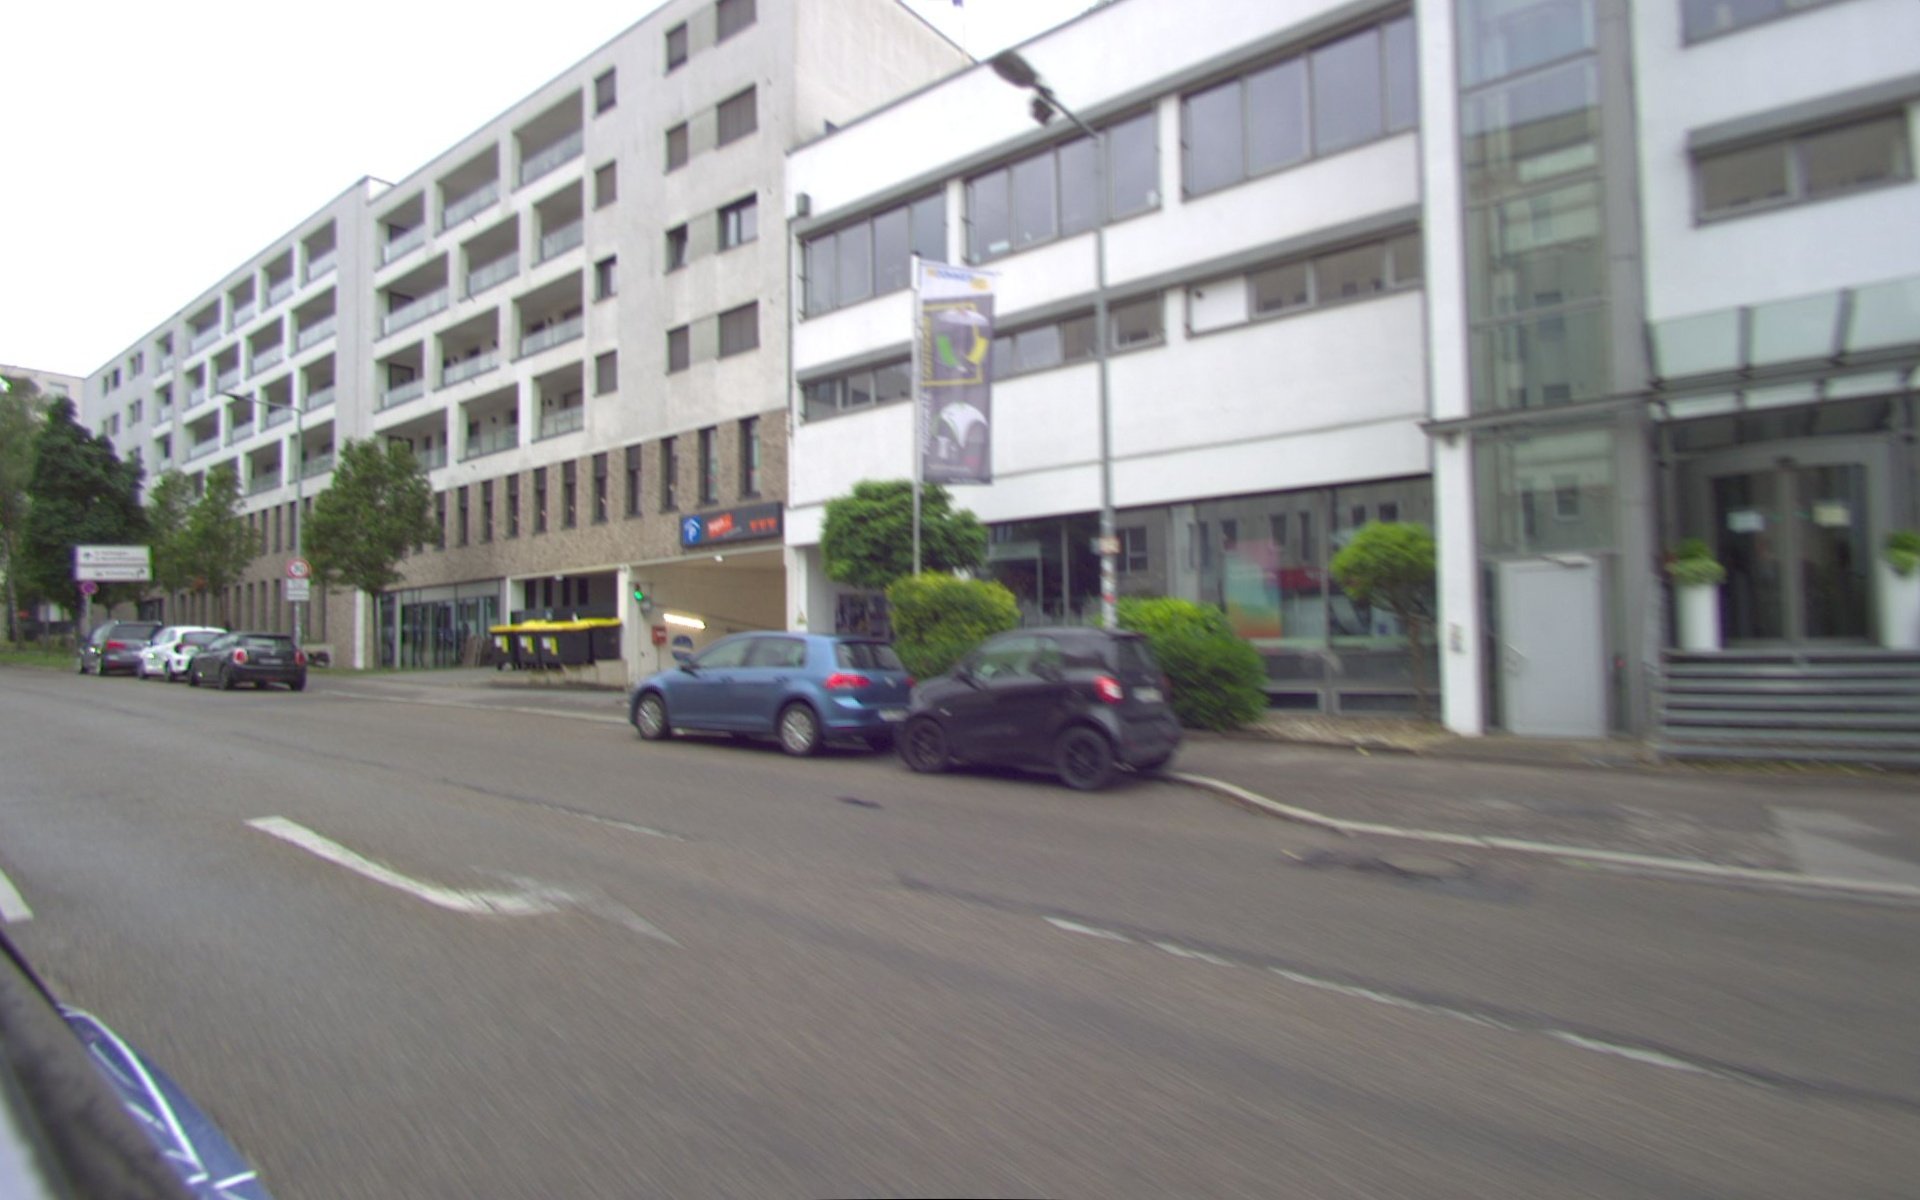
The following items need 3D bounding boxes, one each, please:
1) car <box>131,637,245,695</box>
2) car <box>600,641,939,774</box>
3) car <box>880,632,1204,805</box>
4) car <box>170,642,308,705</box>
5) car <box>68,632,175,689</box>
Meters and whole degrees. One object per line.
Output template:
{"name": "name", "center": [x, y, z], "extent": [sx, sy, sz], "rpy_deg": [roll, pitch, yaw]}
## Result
{"name": "car", "center": [-21.455, 1.824, 28.106], "extent": [3.416, 1.479, 1.578], "rpy_deg": [-1, -5, 37]}
{"name": "car", "center": [-2.485, 1.261, 12.814], "extent": [4.257, 1.414, 1.642], "rpy_deg": [-1, -5, 33]}
{"name": "car", "center": [0.820, 1.130, 10.452], "extent": [2.973, 1.521, 1.502], "rpy_deg": [-1, -5, 34]}
{"name": "car", "center": [-17.951, 1.793, 25.162], "extent": [3.732, 1.402, 1.642], "rpy_deg": [-1, -4, 36]}
{"name": "car", "center": [-25.683, 1.840, 30.966], "extent": [3.967, 1.630, 1.610], "rpy_deg": [-2, -5, 38]}
